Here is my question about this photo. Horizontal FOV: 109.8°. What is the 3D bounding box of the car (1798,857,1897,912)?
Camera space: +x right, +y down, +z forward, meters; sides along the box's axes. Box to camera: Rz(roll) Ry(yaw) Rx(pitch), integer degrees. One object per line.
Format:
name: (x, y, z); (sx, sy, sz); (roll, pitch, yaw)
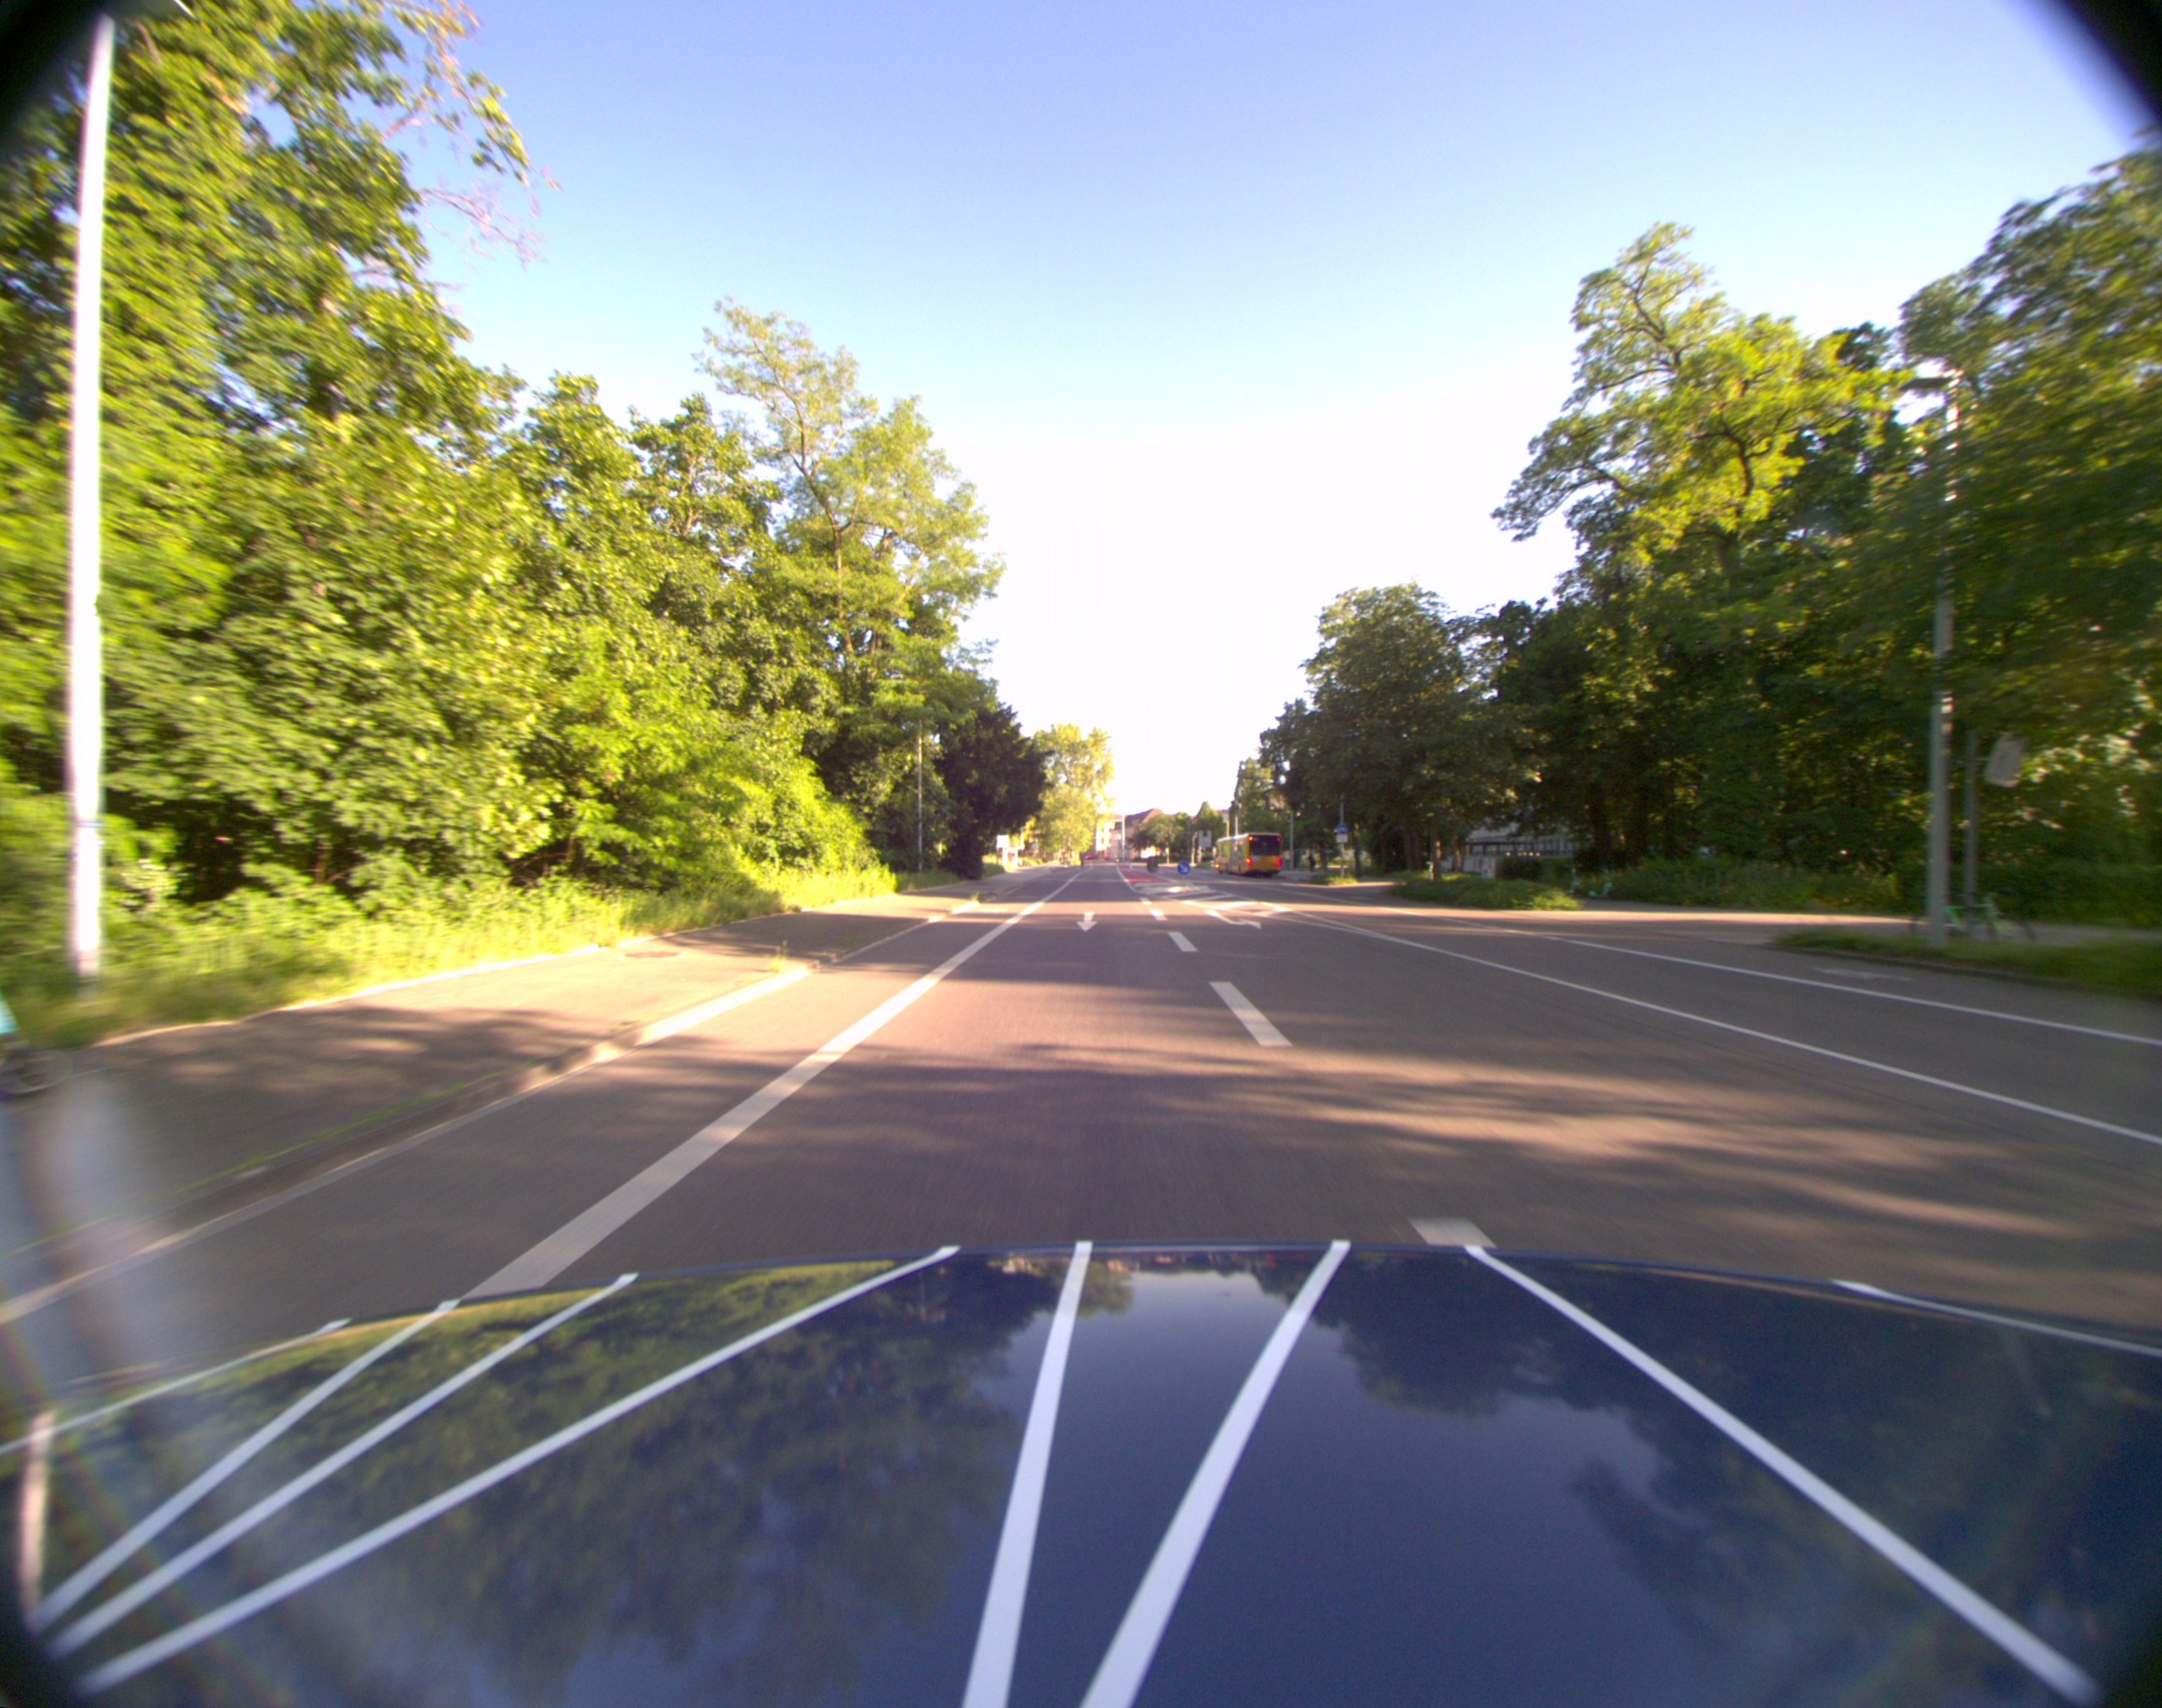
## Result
car: (25.269, 0.944, 25.166); (1.558, 1.641, 3.498); (1, 0, 32)

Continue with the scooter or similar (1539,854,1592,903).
scooter or similar: (17.433, 0.855, 27.382); (0.829, 1.707, 1.741); (0, 0, 1)

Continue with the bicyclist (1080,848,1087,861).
bicyclist: (0.286, 0.056, 91.331); (0.694, 1.482, 0.801); (1, 1, 12)

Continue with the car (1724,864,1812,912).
car: (23.086, 1.084, 25.656); (1.558, 1.392, 3.498); (3, 2, 32)

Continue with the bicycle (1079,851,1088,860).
bicycle: (0.279, 0.161, 91.340); (0.694, 1.089, 2.138); (1, 0, 12)

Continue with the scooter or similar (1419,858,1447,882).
scooter or similar: (19.268, 0.855, 41.584); (0.829, 1.303, 1.571); (0, 0, 1)

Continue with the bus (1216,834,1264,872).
bus: (14.352, -0.107, 69.274); (2.847, 3.178, 8.600); (0, 0, 2)

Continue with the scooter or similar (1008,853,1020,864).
scooter or similar: (-7.692, 0.524, 87.198); (0.722, 1.240, 1.330); (0, 0, 24)

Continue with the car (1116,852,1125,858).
car: (8.404, 0.208, 161.484); (1.722, 1.409, 4.526); (0, 0, 0)

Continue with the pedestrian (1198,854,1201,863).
pedestrian: (22.473, 0.848, 144.050); (0.691, 1.672, 0.681); (1, 1, 10)

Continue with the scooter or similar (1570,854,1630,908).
scooter or similar: (17.346, 0.874, 25.441); (0.829, 1.707, 1.741); (0, 0, 1)

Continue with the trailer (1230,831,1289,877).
trailer: (13.971, -0.034, 60.297); (2.861, 3.336, 9.363); (-2, 0, 3)

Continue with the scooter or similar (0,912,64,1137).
scooter or similar: (-6.812, 0.987, 4.074); (1.544, 1.243, 0.533); (0, 1, -43)

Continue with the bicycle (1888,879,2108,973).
bicycle: (13.946, 1.038, 11.678); (0.656, 1.243, 2.158); (0, 0, -4)
